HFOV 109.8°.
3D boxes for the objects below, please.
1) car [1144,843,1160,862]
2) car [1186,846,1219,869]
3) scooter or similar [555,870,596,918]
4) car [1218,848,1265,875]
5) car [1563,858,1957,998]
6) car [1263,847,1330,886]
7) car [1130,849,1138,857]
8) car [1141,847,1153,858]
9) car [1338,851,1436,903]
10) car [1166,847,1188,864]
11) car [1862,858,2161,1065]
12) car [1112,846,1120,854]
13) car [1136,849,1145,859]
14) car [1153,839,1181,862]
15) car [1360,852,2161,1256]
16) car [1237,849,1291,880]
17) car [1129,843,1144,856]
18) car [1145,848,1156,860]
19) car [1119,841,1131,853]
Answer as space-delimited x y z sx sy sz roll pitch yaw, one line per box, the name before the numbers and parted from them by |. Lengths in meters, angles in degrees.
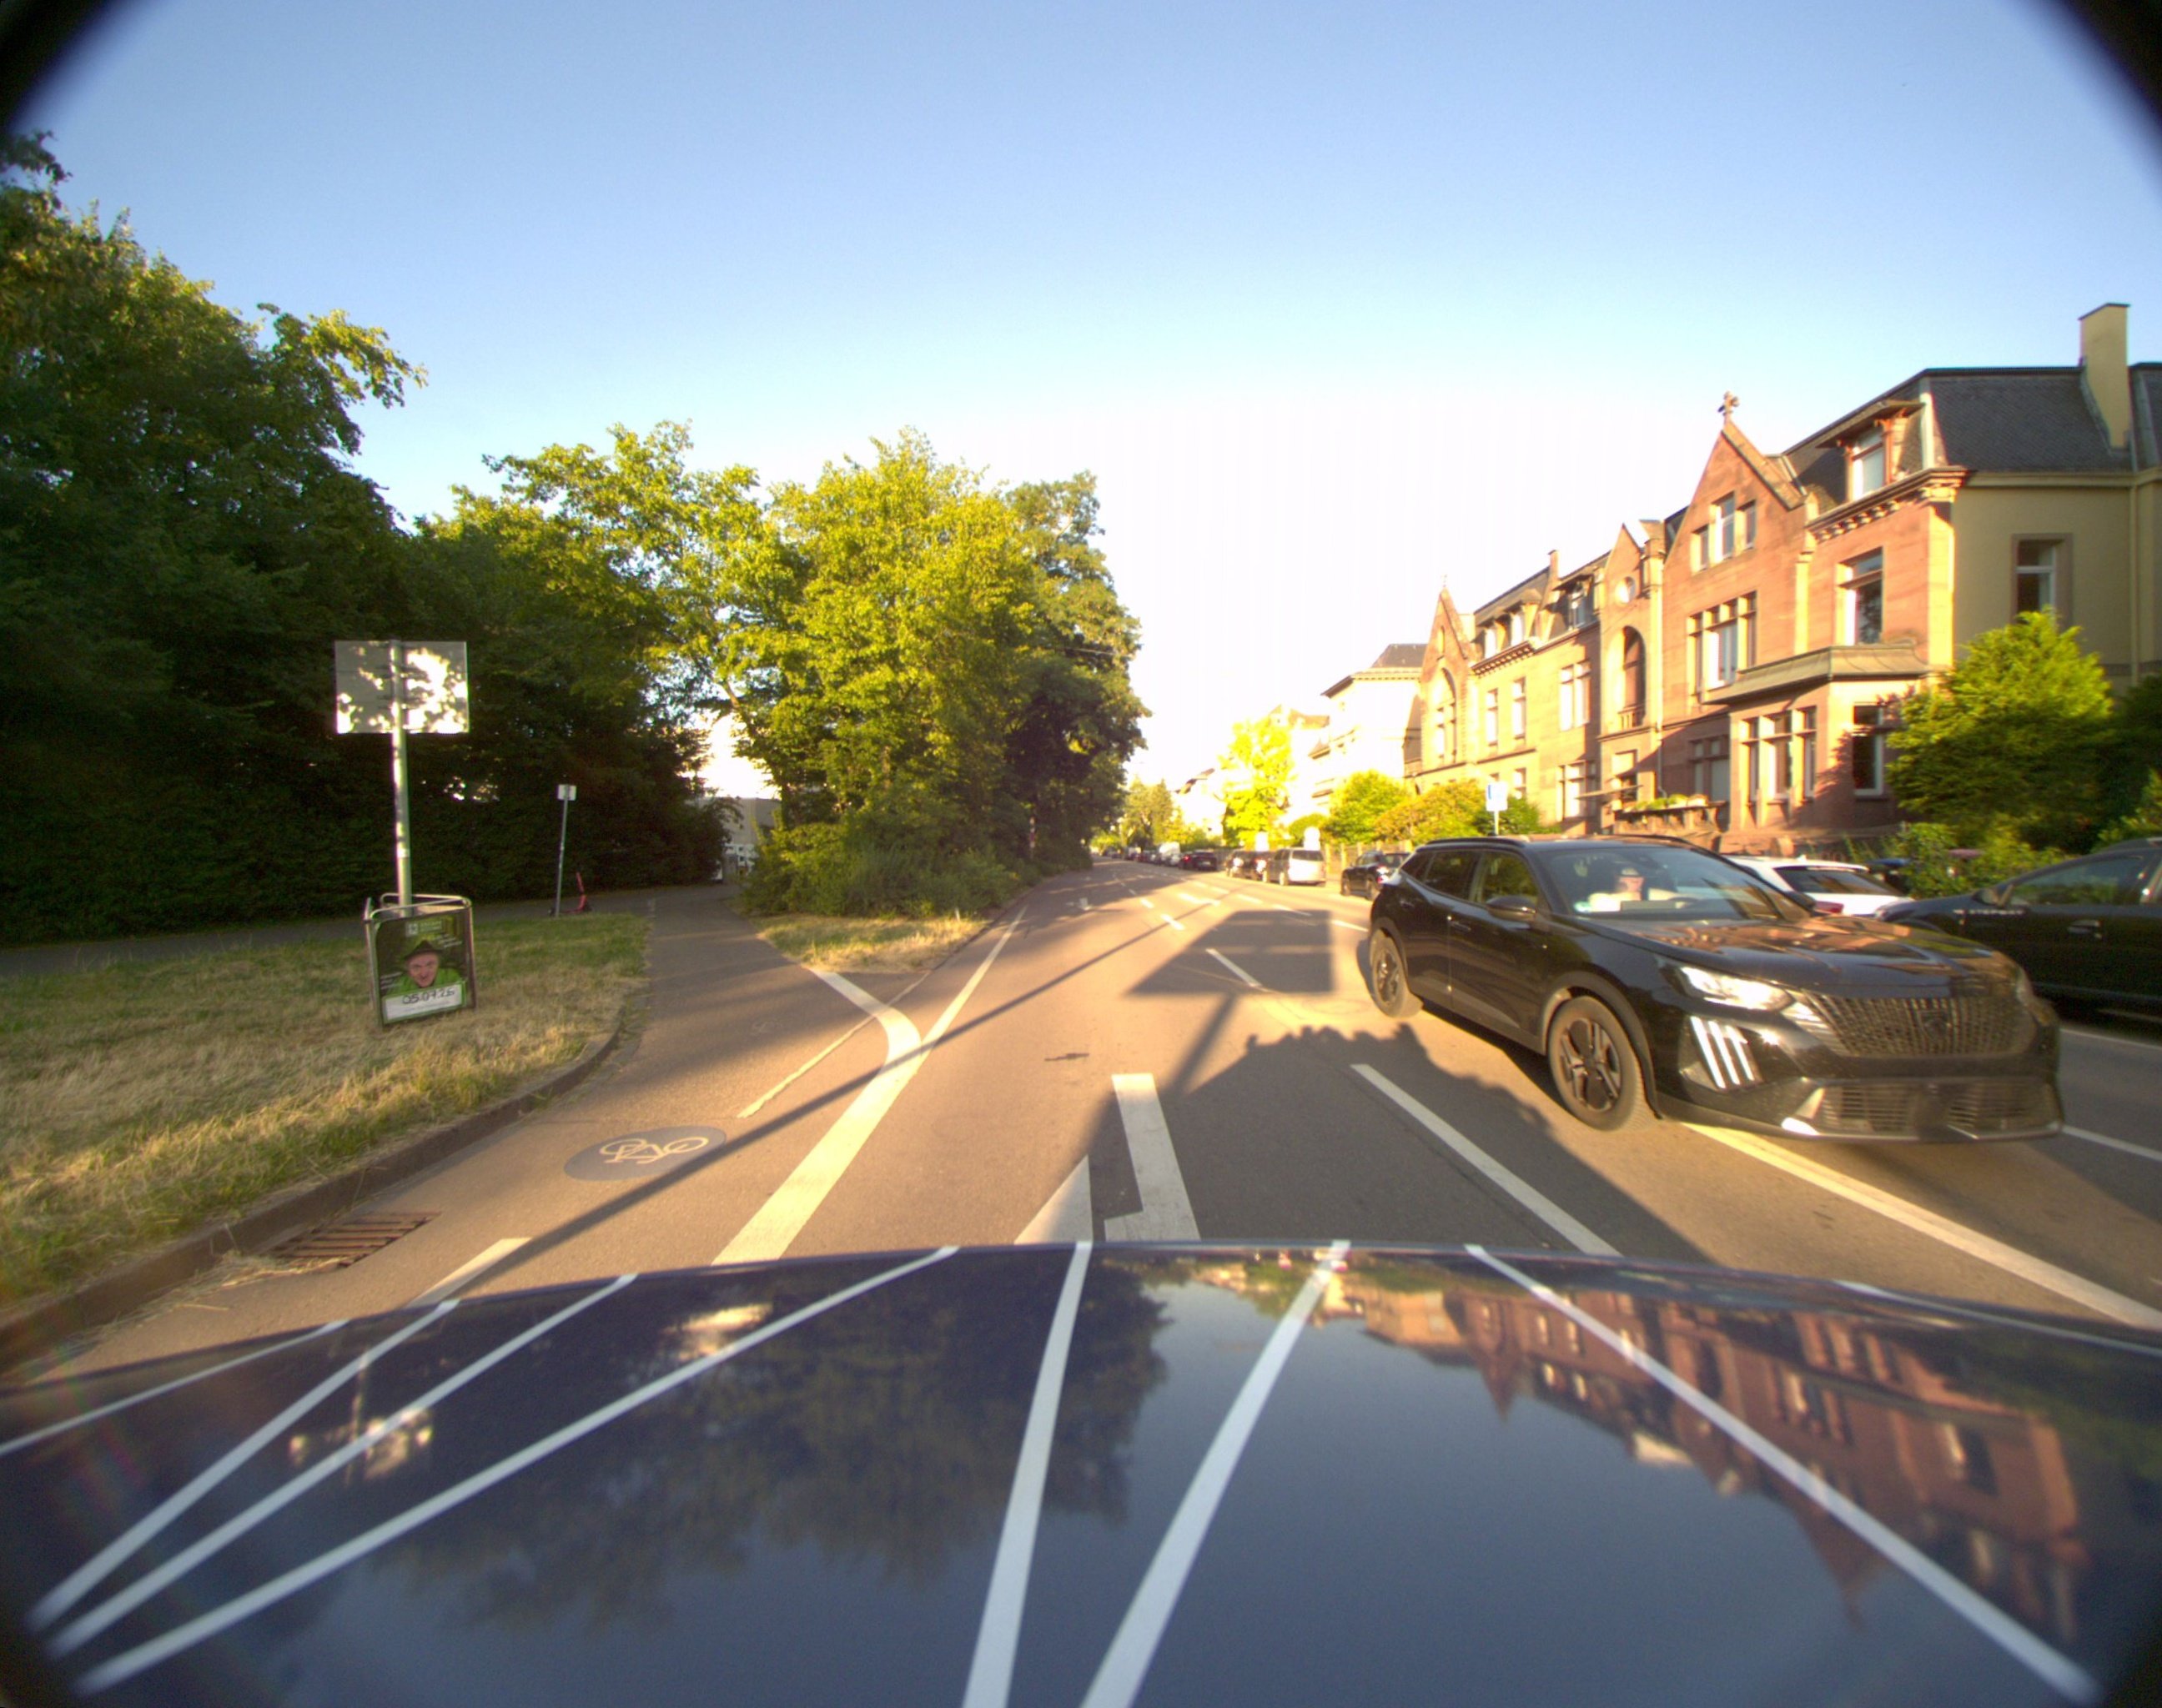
car | 8.682 -0.170 92.919 1.571 2.253 3.800 0 1 1
car | 8.988 0.247 56.430 1.880 1.596 3.722 0 1 1
scooter or similar | -11.838 0.935 17.813 0.194 1.079 0.837 -2 0 15
car | 8.869 0.368 42.276 1.716 1.442 3.722 0 1 -1
car | 8.929 0.836 10.645 1.608 1.435 4.433 2 1 2
car | 9.122 0.487 32.464 1.716 1.579 3.752 0 1 -1
car | 8.713 -0.165 125.685 1.220 1.430 2.515 0 1 1
car | 8.926 -0.203 102.910 1.327 1.430 2.697 0 1 1
car | 9.187 0.629 23.103 1.631 1.437 3.566 0 1 2
car | 9.332 0.129 73.896 1.715 1.596 3.853 0 1 1
car | 8.990 0.850 6.099 1.631 1.526 3.723 2 1 2
car | 9.451 -1.055 203.976 1.998 2.002 4.000 -1 1 1
car | 9.092 -0.031 115.509 1.220 1.430 2.515 0 1 1
car | 9.094 -0.399 80.681 2.231 2.355 5.878 0 1 -1
car | 3.396 0.769 4.933 1.682 1.527 3.999 -1 0 0
car | 8.978 0.495 37.535 1.716 1.442 3.722 0 1 -1
car | 9.567 -0.733 131.396 2.203 2.201 4.527 0 1 1
car | 8.990 -0.025 98.389 1.292 1.430 2.883 0 1 1
car | 9.076 -1.481 156.231 1.999 2.443 5.578 -1 0 -1
